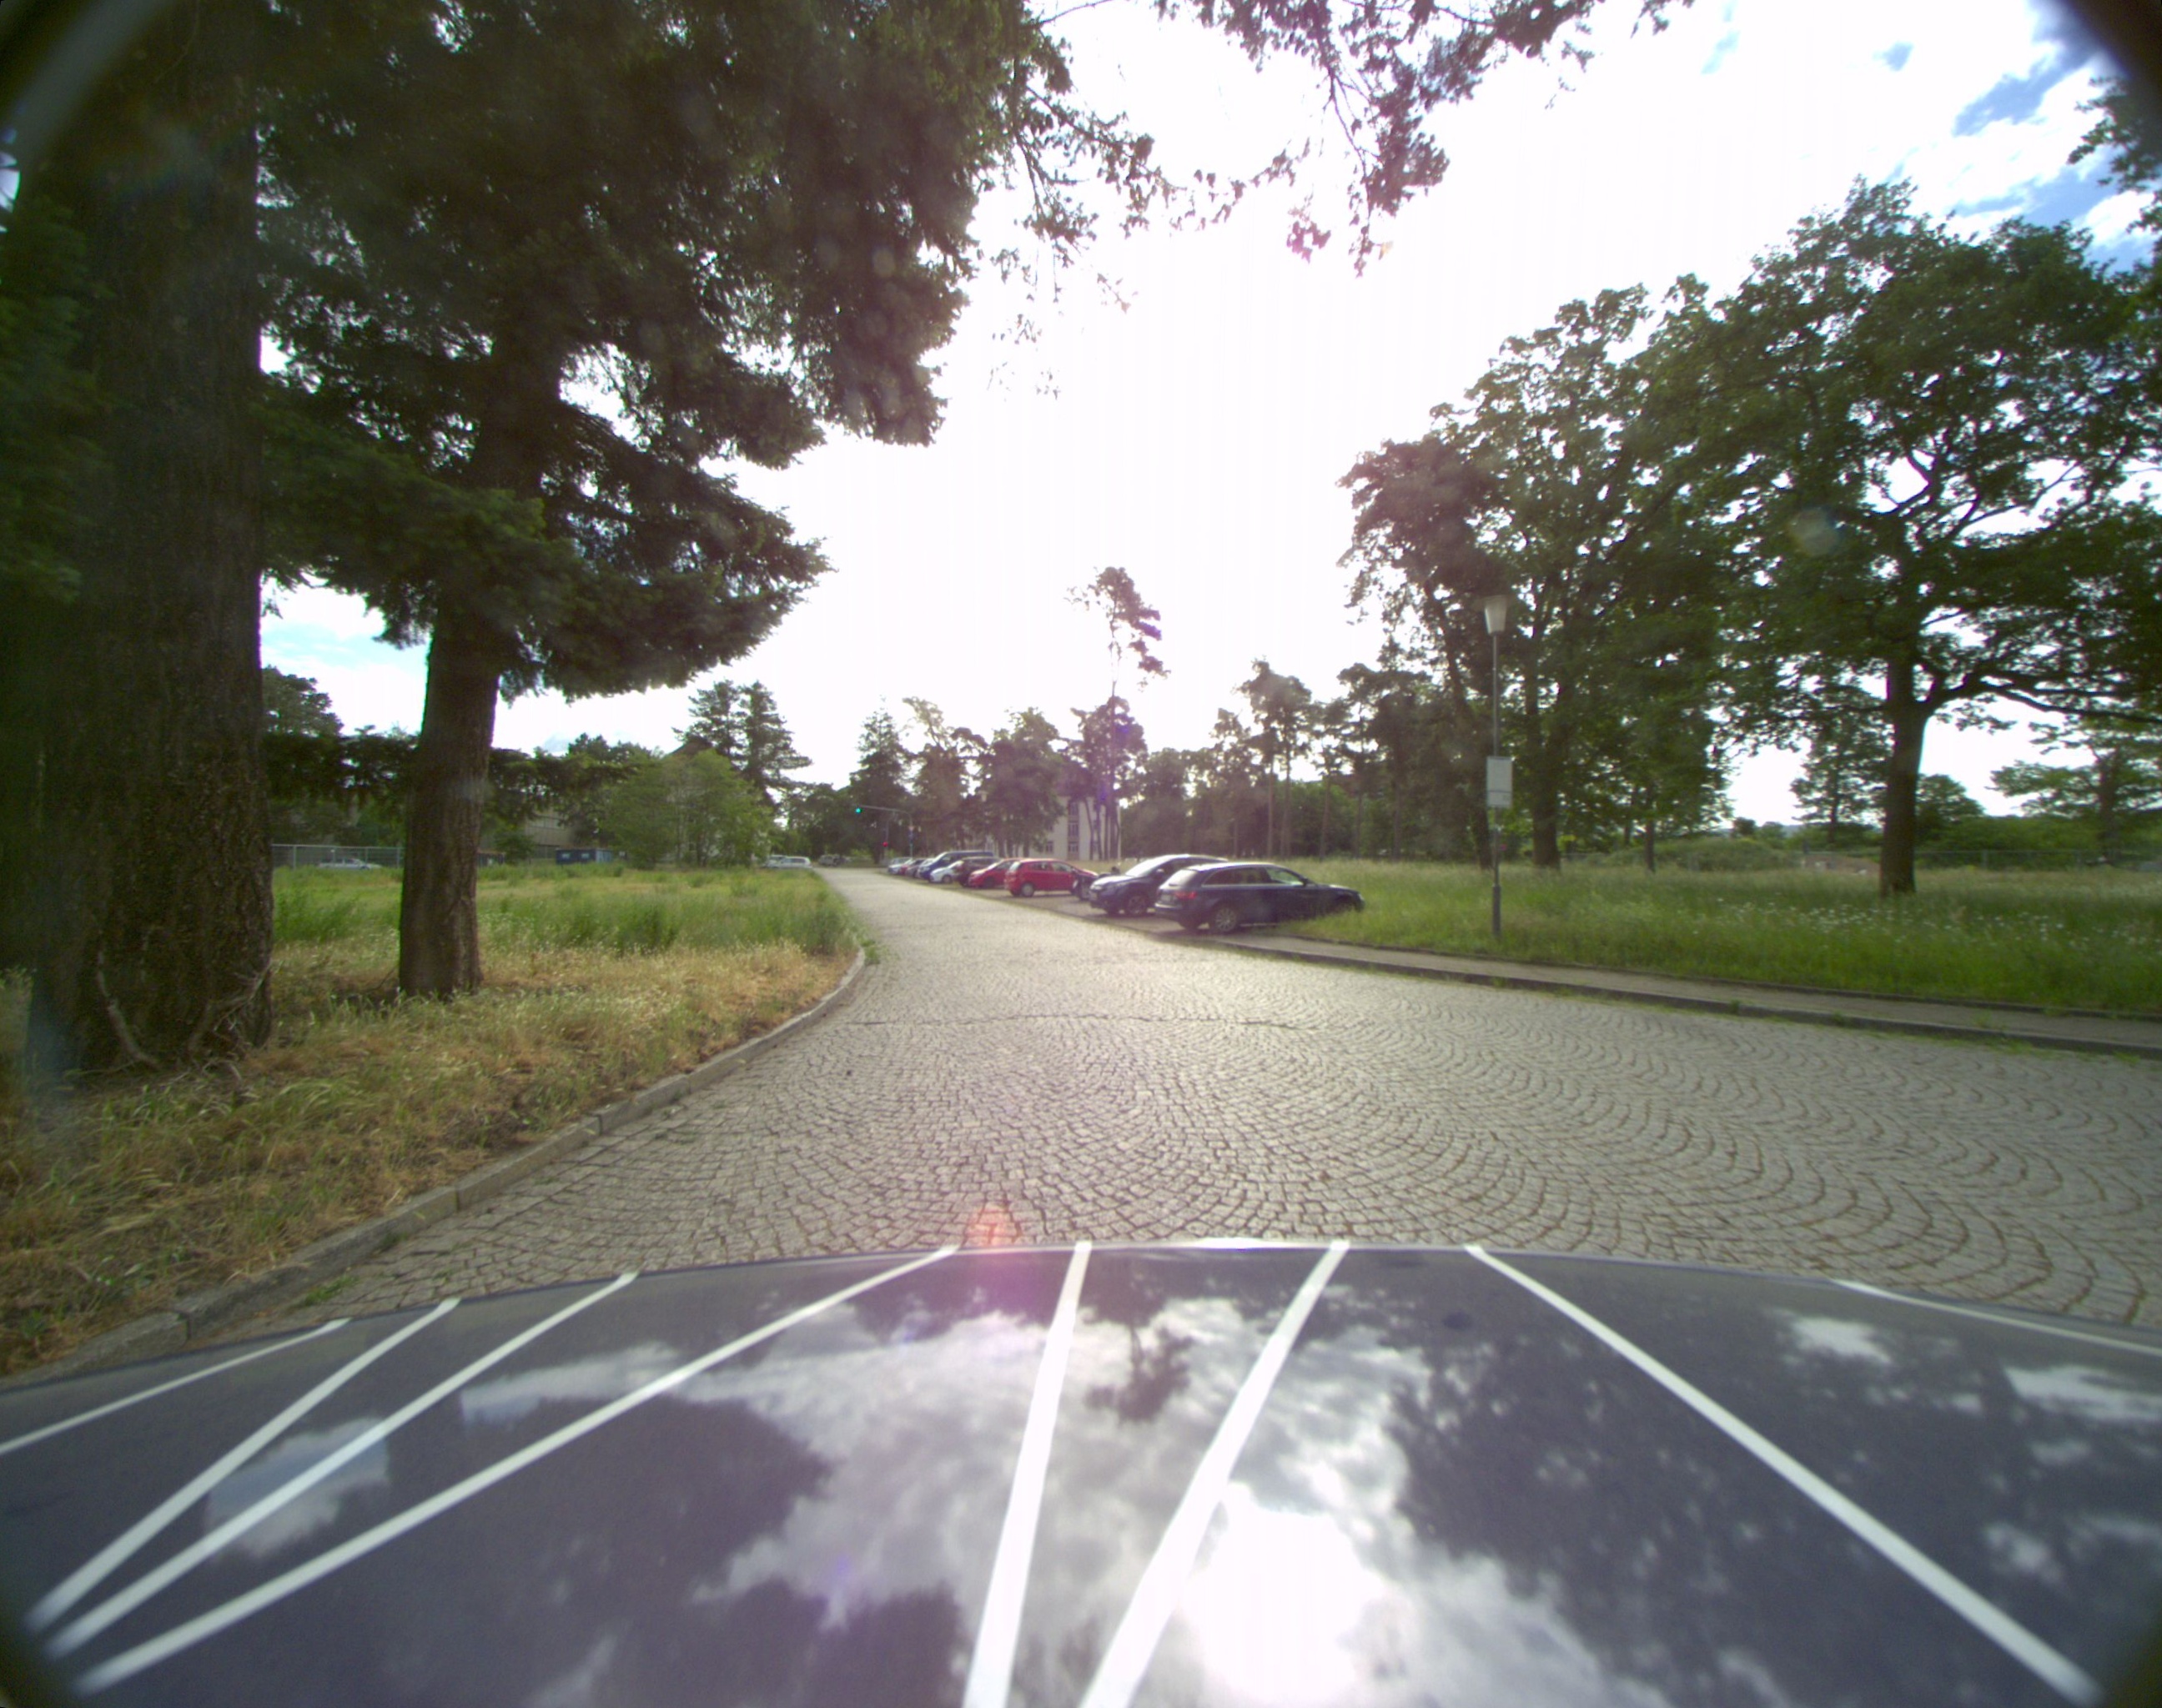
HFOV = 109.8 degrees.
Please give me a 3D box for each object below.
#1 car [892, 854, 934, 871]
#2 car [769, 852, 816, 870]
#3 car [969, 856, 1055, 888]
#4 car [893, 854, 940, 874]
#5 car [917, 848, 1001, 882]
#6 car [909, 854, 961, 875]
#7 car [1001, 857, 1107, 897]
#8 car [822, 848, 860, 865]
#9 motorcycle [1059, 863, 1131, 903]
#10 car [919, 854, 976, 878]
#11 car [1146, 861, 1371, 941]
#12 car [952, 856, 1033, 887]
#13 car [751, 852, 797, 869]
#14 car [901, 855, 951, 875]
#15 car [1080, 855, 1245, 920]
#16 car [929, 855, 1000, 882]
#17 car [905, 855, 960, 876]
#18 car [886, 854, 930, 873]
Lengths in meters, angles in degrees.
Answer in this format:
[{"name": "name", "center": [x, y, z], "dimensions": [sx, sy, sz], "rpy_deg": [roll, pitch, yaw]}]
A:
[{"name": "car", "center": [-15.696, 0.764, 71.193], "dimensions": [3.460, 1.424, 1.624], "rpy_deg": [-3, 2, -30]}, {"name": "car", "center": [-25.234, 0.604, 66.513], "dimensions": [3.736, 1.430, 1.623], "rpy_deg": [-2, 2, -24]}, {"name": "car", "center": [-3.463, 0.866, 37.847], "dimensions": [3.957, 1.511, 1.704], "rpy_deg": [-1, 0, -20]}, {"name": "car", "center": [-14.243, 0.864, 65.769], "dimensions": [3.578, 1.479, 1.599], "rpy_deg": [-3, 2, -28]}, {"name": "car", "center": [-7.814, 0.637, 48.590], "dimensions": [4.841, 1.855, 2.157], "rpy_deg": [-3, 2, -22]}, {"name": "car", "center": [-11.367, 0.790, 59.265], "dimensions": [3.578, 1.426, 1.603], "rpy_deg": [-3, 2, -27]}, {"name": "car", "center": [-1.106, 0.895, 30.546], "dimensions": [3.900, 1.470, 1.669], "rpy_deg": [-1, 1, -21]}, {"name": "car", "center": [-41.950, 0.446, 132.687], "dimensions": [5.806, 2.548, 2.763], "rpy_deg": [-3, 2, -25]}, {"name": "motorcycle", "center": [0.486, 0.991, 26.446], "dimensions": [2.365, 1.280, 0.742], "rpy_deg": [-1, 1, -20]}, {"name": "car", "center": [-9.502, 0.830, 53.958], "dimensions": [3.605, 1.446, 1.684], "rpy_deg": [-3, 2, -27]}, {"name": "car", "center": [3.788, 0.929, 16.304], "dimensions": [4.449, 1.471, 1.679], "rpy_deg": [-1, 0, -17]}, {"name": "car", "center": [-4.695, 0.883, 40.251], "dimensions": [3.923, 1.594, 1.817], "rpy_deg": [0, 0, -23]}, {"name": "car", "center": [-28.603, 0.563, 70.841], "dimensions": [3.736, 1.430, 1.623], "rpy_deg": [-3, 2, -28]}, {"name": "car", "center": [-12.596, 0.860, 61.682], "dimensions": [3.578, 1.409, 1.634], "rpy_deg": [-3, 2, -27]}, {"name": "car", "center": [2.241, 0.855, 20.869], "dimensions": [4.156, 1.564, 1.786], "rpy_deg": [-1, 1, -21]}, {"name": "car", "center": [-7.086, 0.869, 46.170], "dimensions": [3.936, 1.385, 1.739], "rpy_deg": [-3, 2, -22]}, {"name": "car", "center": [-10.970, 0.834, 56.228], "dimensions": [3.605, 1.413, 1.614], "rpy_deg": [-2, 2, -27]}, {"name": "car", "center": [-15.562, 0.823, 68.310], "dimensions": [3.577, 1.450, 1.623], "rpy_deg": [-3, 2, -22]}]
